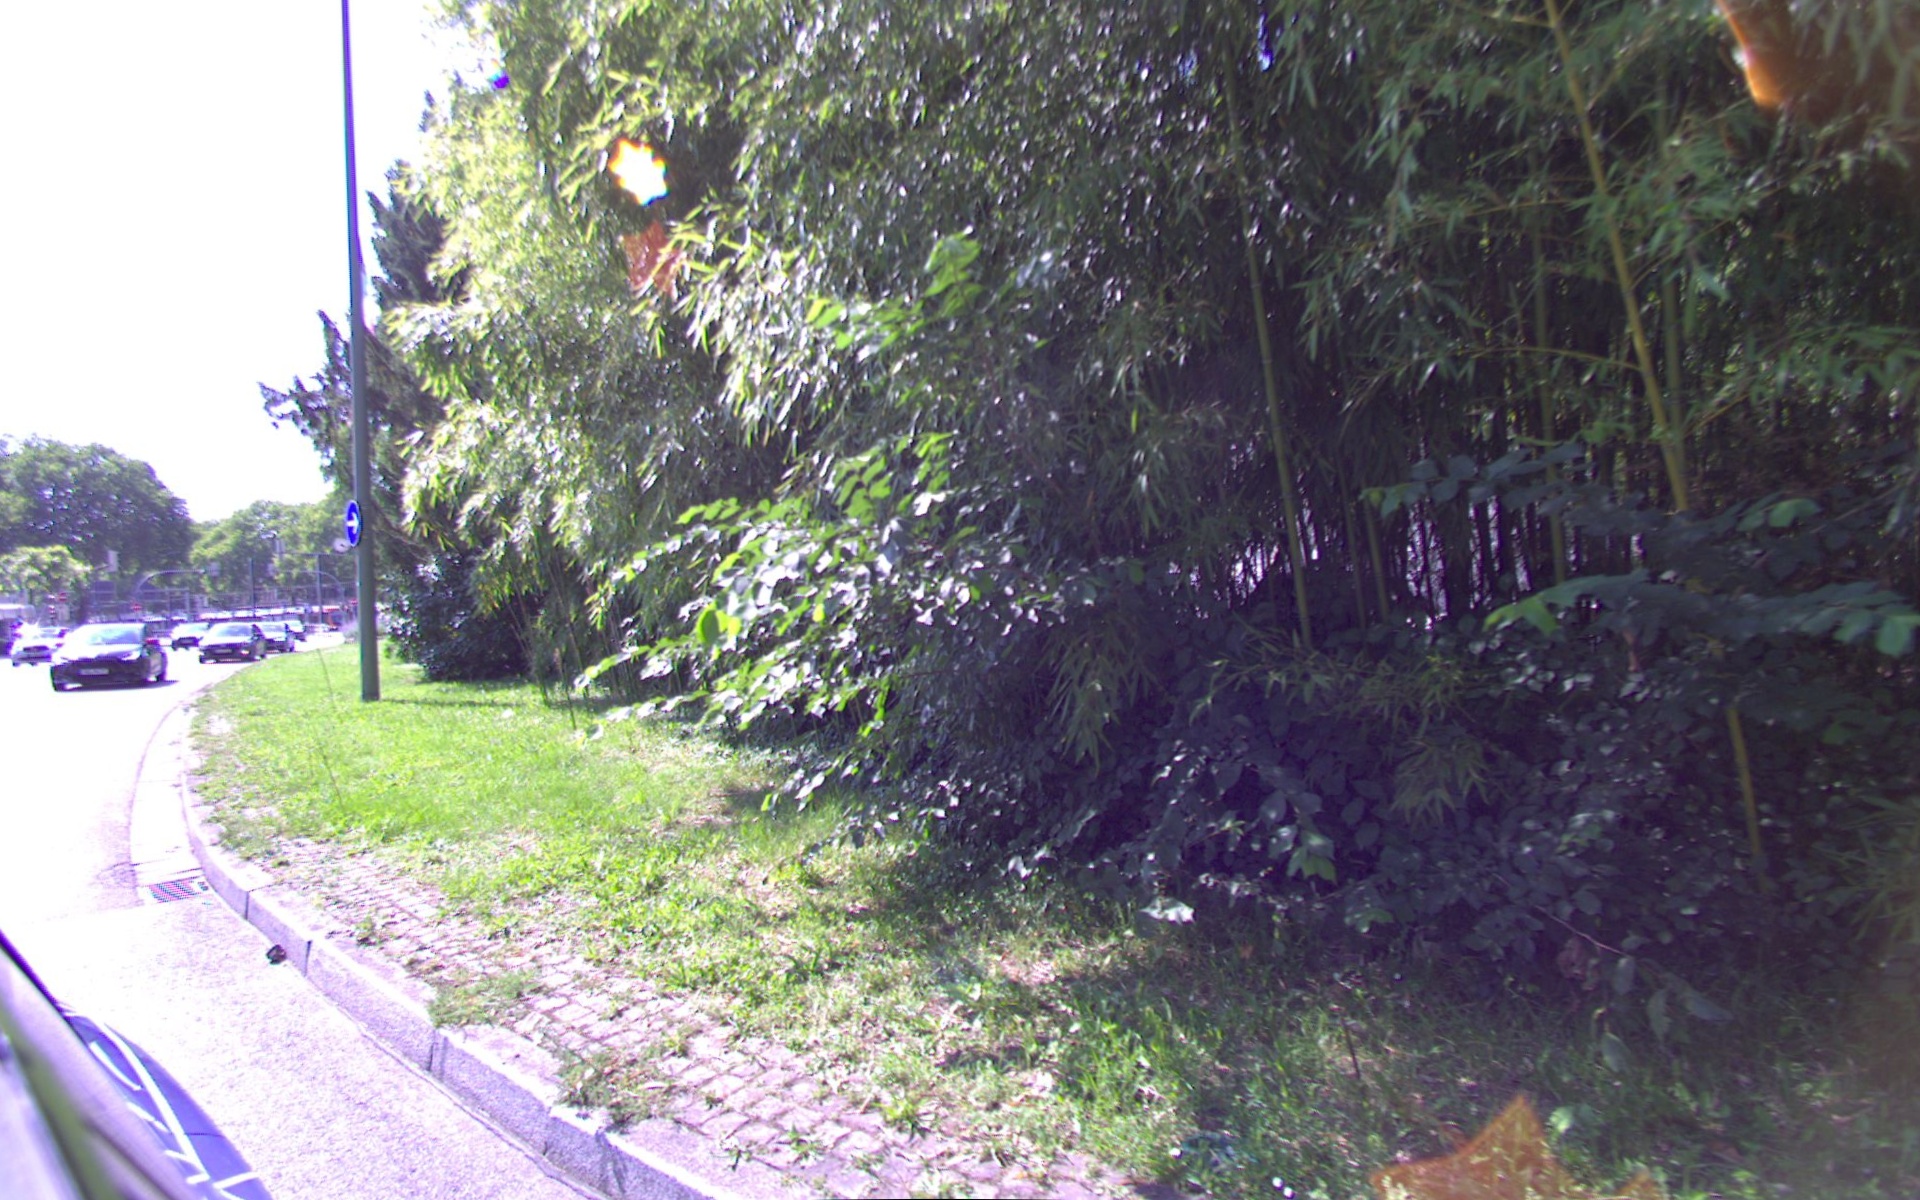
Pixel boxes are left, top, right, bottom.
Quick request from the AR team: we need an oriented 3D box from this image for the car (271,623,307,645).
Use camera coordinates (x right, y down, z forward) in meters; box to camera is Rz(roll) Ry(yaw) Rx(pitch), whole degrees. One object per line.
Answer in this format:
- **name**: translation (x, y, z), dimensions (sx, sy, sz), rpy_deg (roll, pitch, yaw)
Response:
- **car**: translation (-47.491, 2.384, 71.681), dimensions (1.761, 1.471, 4.101), rpy_deg (-1, -1, -29)

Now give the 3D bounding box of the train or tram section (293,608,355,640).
- **train or tram section**: translation (-72.303, 2.715, 115.004), dimensions (8.716, 3.292, 2.703), rpy_deg (-3, 0, 35)

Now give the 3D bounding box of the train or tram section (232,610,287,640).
- **train or tram section**: translation (-86.568, 3.107, 124.984), dimensions (8.716, 3.292, 2.703), rpy_deg (-3, 0, 35)

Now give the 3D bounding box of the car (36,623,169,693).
- **car**: translation (-20.401, 1.320, 24.261), dimensions (1.762, 1.462, 4.293), rpy_deg (-1, -1, -31)

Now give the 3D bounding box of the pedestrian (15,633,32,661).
- **pedestrian**: translation (-63.734, 3.186, 68.875), dimensions (0.652, 1.819, 0.716), rpy_deg (-3, 0, 42)

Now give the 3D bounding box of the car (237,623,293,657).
- **car**: translation (-32.573, 1.858, 47.504), dimensions (1.761, 1.481, 4.101), rpy_deg (-1, -1, -29)

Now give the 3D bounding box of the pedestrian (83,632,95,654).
- **pedestrian**: translation (-65.888, 3.255, 76.571), dimensions (0.673, 1.661, 0.528), rpy_deg (-3, 0, 38)

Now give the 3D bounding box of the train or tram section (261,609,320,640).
- **train or tram section**: translation (-79.422, 2.910, 119.979), dimensions (8.716, 3.292, 2.703), rpy_deg (-3, 0, 35)

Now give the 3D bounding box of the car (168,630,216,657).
- **car**: translation (-45.571, 2.557, 60.121), dimensions (1.761, 1.471, 4.100), rpy_deg (-1, -1, -30)

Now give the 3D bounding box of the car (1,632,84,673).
- **car**: translation (-37.160, 2.079, 41.106), dimensions (1.762, 1.524, 4.292), rpy_deg (-1, -1, -32)

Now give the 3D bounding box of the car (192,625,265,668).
- **car**: translation (-27.786, 1.725, 38.572), dimensions (1.761, 1.504, 4.101), rpy_deg (-1, -1, -29)

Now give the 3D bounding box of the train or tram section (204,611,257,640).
- **train or tram section**: translation (-93.698, 3.302, 130.012), dimensions (8.716, 3.292, 2.703), rpy_deg (-3, 0, 35)
